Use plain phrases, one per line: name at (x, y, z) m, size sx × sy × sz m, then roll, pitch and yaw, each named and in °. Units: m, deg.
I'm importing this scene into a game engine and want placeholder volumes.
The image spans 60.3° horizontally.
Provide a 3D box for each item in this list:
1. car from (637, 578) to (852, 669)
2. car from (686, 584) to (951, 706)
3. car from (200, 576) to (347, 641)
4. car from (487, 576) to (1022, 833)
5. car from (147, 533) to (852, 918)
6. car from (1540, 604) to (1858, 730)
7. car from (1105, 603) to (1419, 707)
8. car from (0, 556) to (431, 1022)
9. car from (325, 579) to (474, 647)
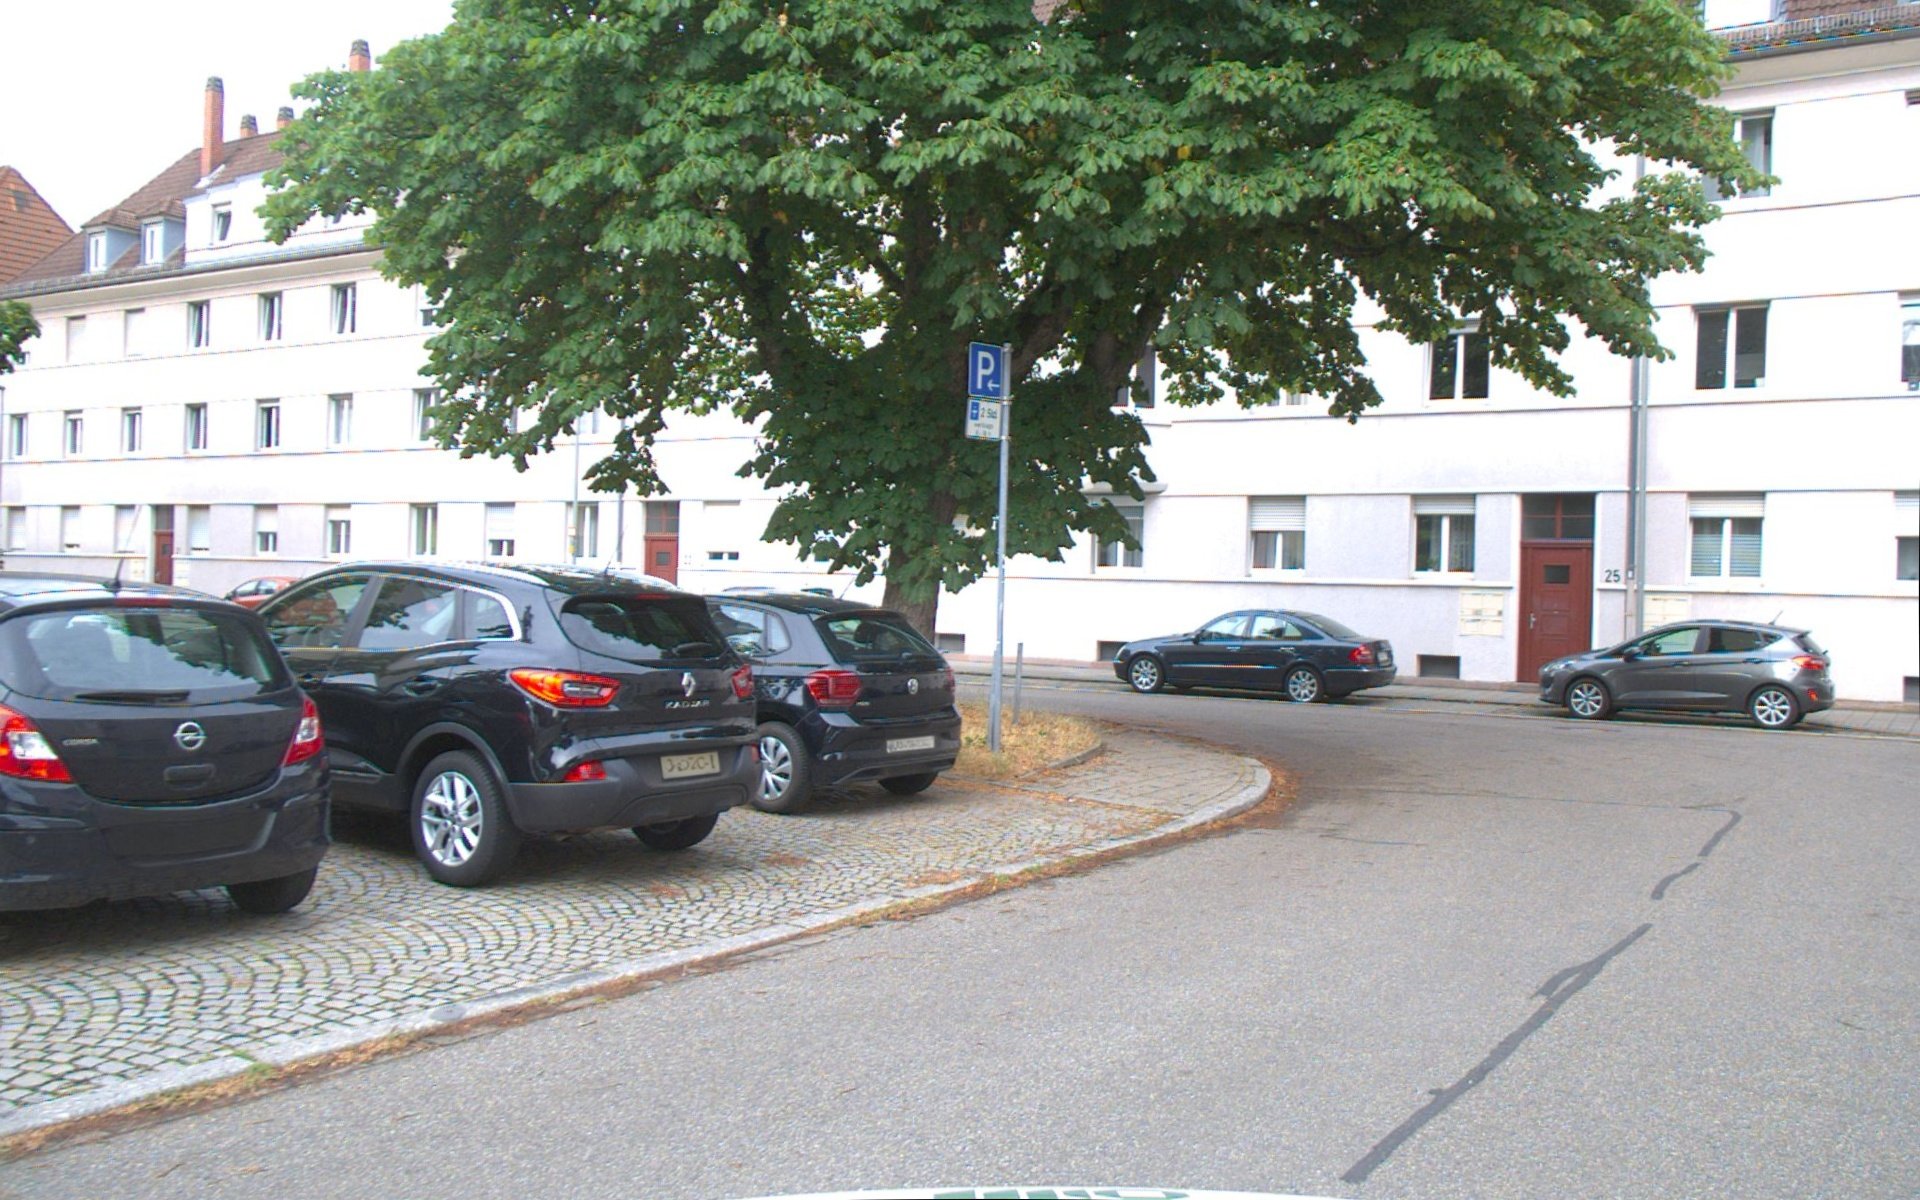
car at (-4.496, 0.446, 34.321) m, size 4.197 × 1.703 × 1.844 m, roll 2°, pitch 1°, yaw 31°
car at (-2.017, 0.619, 23.198) m, size 3.520 × 1.520 × 1.523 m, roll 2°, pitch -2°, yaw 36°
car at (-17.743, 0.197, 42.705) m, size 3.746 × 1.552 × 1.697 m, roll 2°, pitch 1°, yaw 34°
car at (-1.606, 0.657, 12.475) m, size 3.765 × 1.605 × 1.824 m, roll 1°, pitch 0°, yaw 36°
car at (-2.787, 0.556, 9.685) m, size 3.989 × 1.727 × 1.909 m, roll 3°, pitch 0°, yaw 37°
car at (10.676, 0.905, 23.960) m, size 3.992 × 1.551 × 1.758 m, roll 2°, pitch 1°, yaw 32°
car at (4.979, 0.847, 27.549) m, size 4.844 × 1.445 × 1.746 m, roll 2°, pitch 1°, yaw 32°
car at (-4.562, 0.606, 7.703) m, size 4.272 × 1.593 × 1.834 m, roll 3°, pitch 0°, yaw 37°
car at (-13.522, 0.294, 39.863) m, size 3.621 × 1.499 × 1.567 m, roll 2°, pitch 0°, yaw 35°
